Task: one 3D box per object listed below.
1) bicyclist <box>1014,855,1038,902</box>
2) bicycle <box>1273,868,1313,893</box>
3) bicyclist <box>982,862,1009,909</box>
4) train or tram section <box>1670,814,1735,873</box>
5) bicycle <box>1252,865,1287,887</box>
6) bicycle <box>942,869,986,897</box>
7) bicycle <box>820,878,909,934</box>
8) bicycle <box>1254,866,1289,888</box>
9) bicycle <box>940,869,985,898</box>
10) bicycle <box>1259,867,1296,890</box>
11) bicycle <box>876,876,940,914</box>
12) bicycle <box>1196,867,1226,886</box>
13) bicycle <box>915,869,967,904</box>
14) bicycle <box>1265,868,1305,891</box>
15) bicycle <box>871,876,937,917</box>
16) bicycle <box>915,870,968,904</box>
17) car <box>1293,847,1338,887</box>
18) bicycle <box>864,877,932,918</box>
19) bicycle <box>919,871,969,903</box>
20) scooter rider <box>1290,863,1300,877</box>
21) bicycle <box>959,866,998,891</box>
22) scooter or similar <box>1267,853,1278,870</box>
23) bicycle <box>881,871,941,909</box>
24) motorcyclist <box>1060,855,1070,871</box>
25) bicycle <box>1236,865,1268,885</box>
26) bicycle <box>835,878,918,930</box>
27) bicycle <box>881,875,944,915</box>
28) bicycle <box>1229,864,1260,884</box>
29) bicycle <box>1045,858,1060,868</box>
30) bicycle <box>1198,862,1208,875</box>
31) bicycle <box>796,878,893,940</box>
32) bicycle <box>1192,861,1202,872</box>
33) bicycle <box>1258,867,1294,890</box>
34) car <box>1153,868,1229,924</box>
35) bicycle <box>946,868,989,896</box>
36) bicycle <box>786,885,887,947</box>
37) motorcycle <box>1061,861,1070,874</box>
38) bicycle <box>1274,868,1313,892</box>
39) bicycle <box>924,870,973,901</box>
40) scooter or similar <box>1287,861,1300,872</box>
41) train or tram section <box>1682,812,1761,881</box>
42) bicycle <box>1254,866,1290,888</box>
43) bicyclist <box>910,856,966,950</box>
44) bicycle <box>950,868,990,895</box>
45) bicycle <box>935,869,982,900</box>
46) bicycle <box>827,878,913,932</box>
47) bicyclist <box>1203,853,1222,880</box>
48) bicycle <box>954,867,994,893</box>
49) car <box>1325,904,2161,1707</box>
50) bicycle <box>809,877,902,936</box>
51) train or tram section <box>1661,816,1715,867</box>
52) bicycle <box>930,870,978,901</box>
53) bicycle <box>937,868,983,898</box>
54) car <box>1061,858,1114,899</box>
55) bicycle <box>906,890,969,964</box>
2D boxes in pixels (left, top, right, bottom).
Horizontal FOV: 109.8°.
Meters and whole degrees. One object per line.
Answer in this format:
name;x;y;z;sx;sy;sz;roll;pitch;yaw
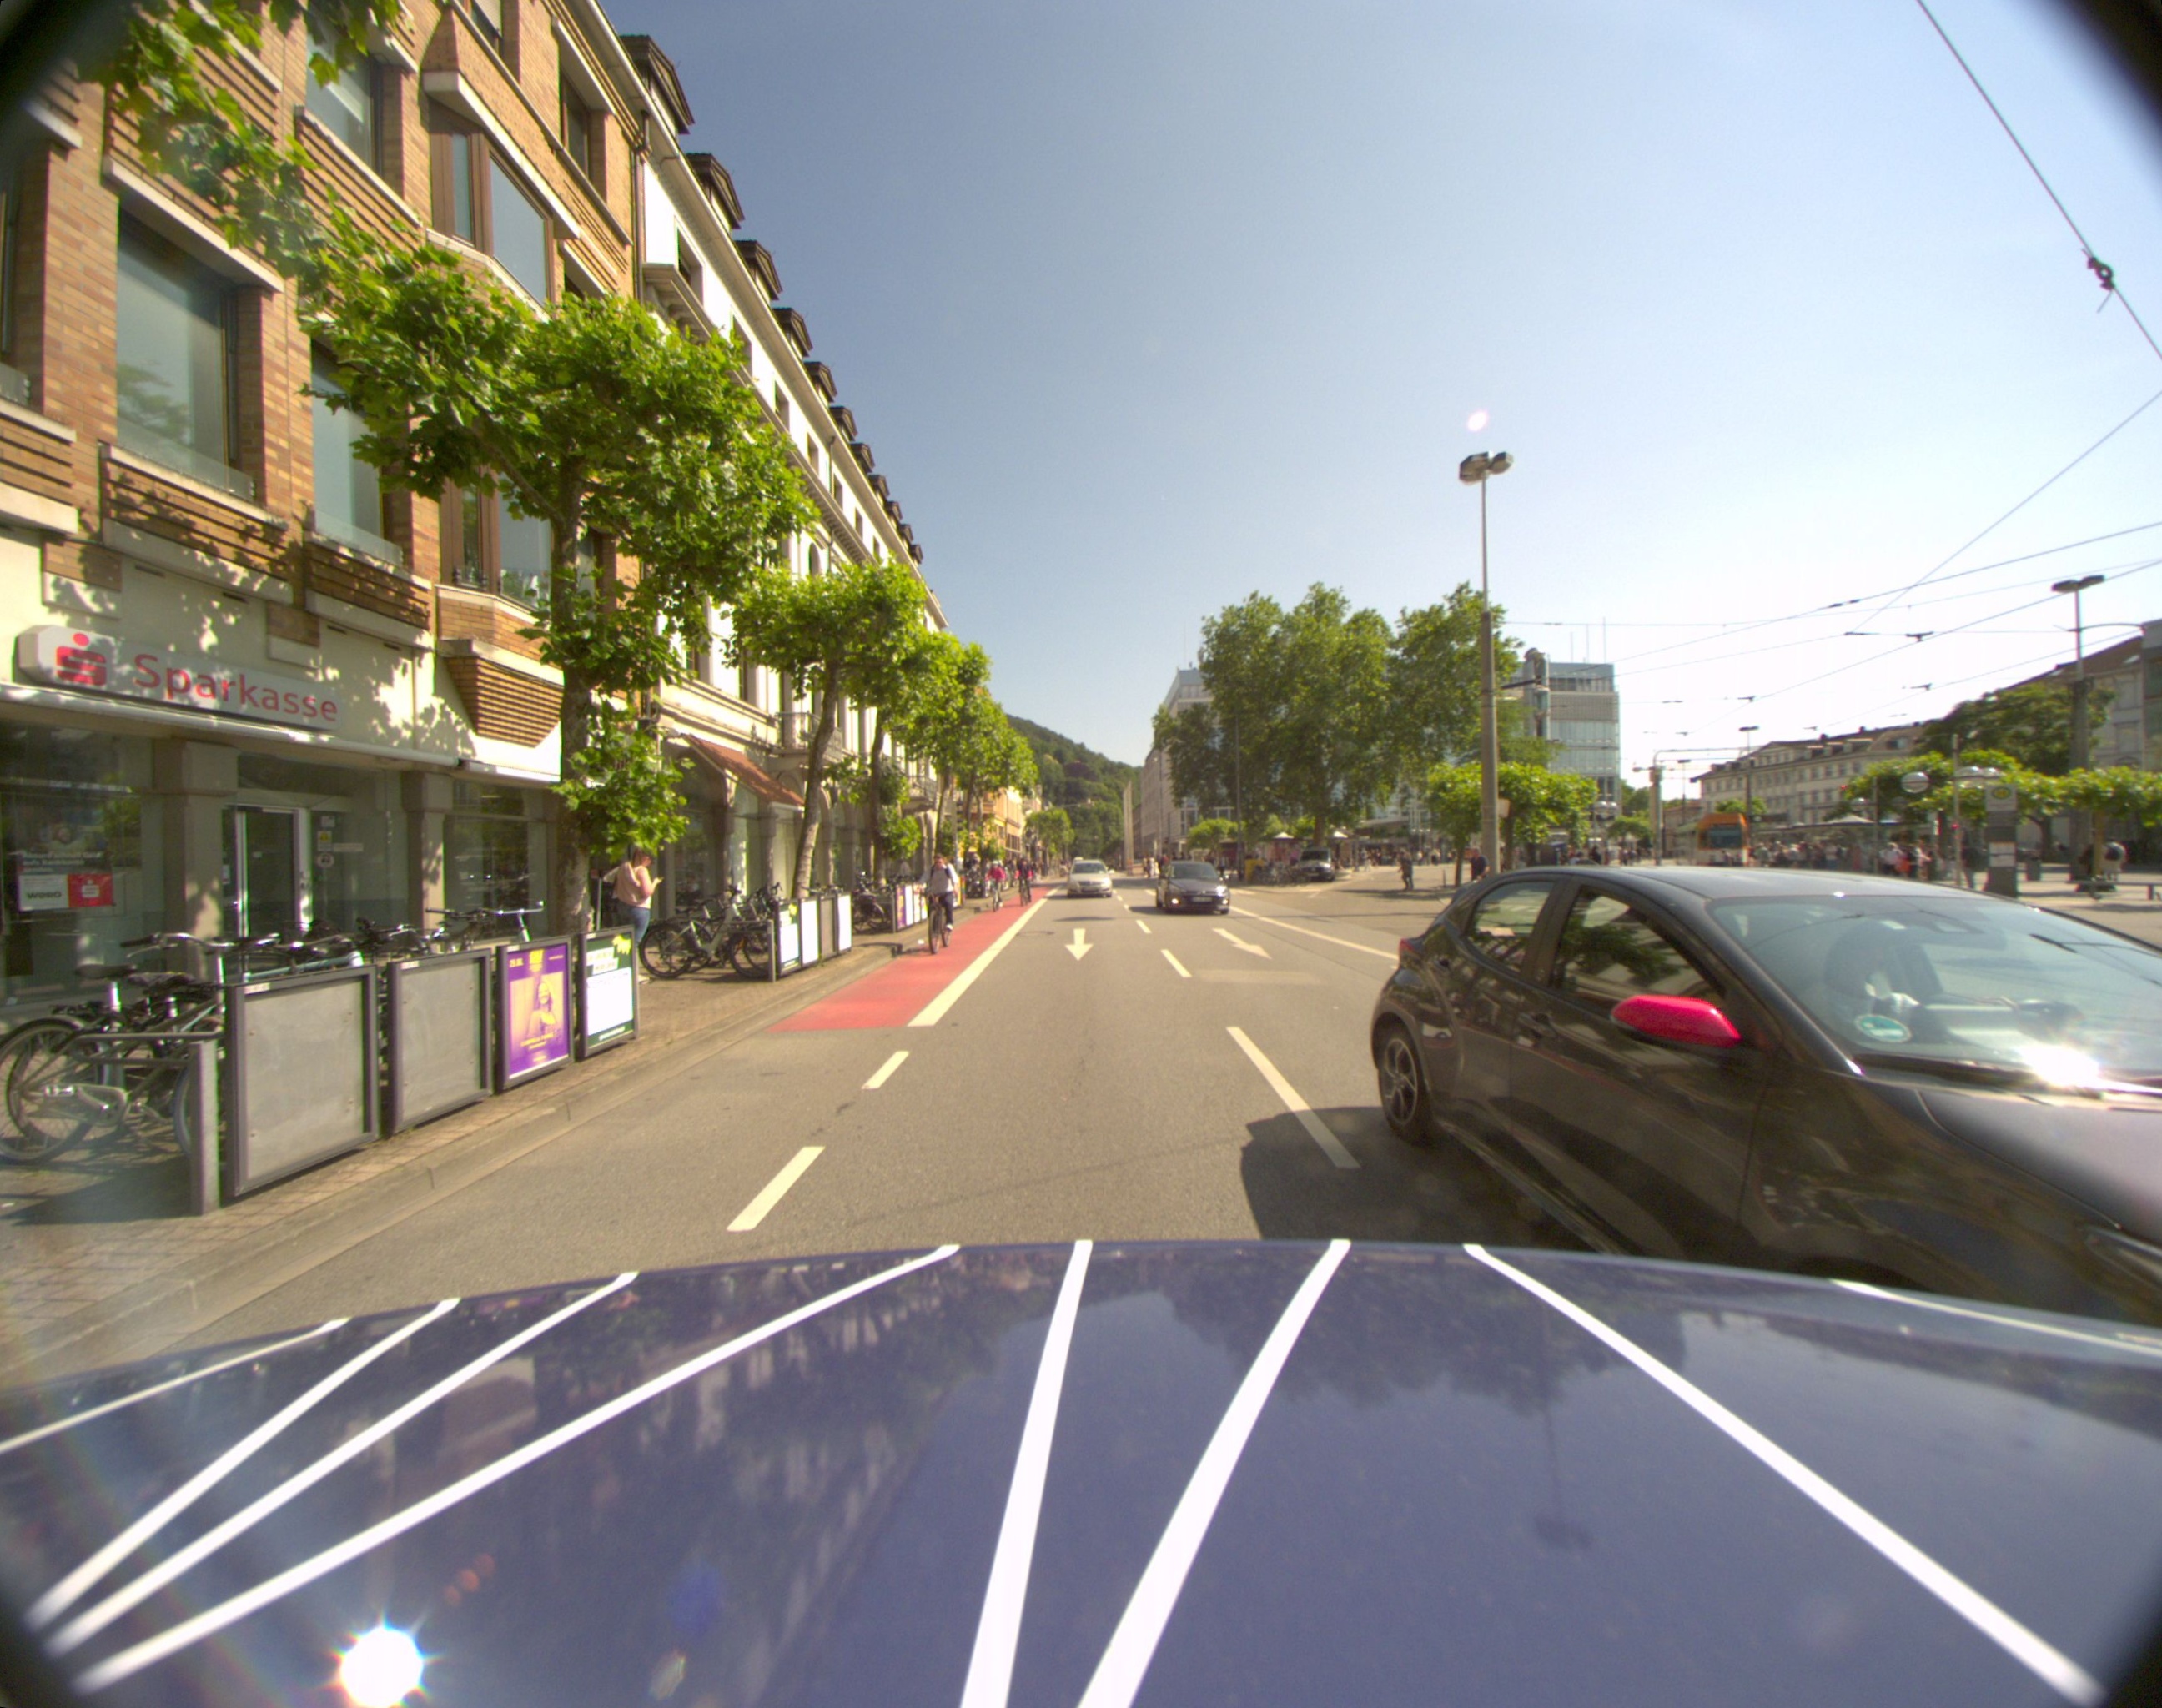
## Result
bicyclist;-1.876;0.824;25.983;0.690;1.567;0.778;-3;1;-3
bicycle;10.281;1.283;36.842;1.757;1.140;0.483;-1;0;-2
bicyclist;-2.620;0.966;23.468;0.690;1.388;0.778;-3;0;-1
train or tram section;44.642;-0.804;54.841;2.615;3.805;9.536;-3;0;34
bicycle;10.407;1.211;41.920;1.757;1.140;0.483;-1;0;-2
bicycle;-4.919;1.217;31.988;1.757;1.140;0.592;-1;0;-2
bicycle;-4.671;1.112;16.470;1.757;1.140;0.483;-1;0;-2
bicycle;10.323;1.242;41.178;1.757;1.140;0.483;-1;0;-2
bicycle;-4.878;1.215;31.294;1.757;1.140;0.592;-1;0;-2
bicycle;10.174;1.248;39.283;1.757;1.140;0.483;-1;0;-2
bicycle;-5.067;1.196;22.307;1.757;1.062;0.483;-1;0;-2
bicycle;7.496;1.306;44.046;0.831;1.017;2.624;-3;0;-10
bicycle;-5.104;1.184;27.738;1.804;1.187;0.482;-1;2;-2
bicycle;10.259;1.278;38.180;1.865;1.140;0.483;-1;0;-2
bicycle;-5.056;1.208;21.760;1.757;1.081;0.483;-1;0;-2
bicycle;-4.969;1.185;27.164;1.778;1.140;0.483;-1;0;-2
car;13.330;0.699;42.985;1.996;2.002;5.074;-3;0;22
bicycle;-5.120;1.209;21.259;1.757;1.099;0.483;-1;0;-2
bicycle;-5.103;1.224;28.310;1.757;1.140;0.483;-1;0;-2
scooter rider;13.285;1.019;47.194;0.506;0.833;0.349;-3;1;34
bicycle;-4.994;1.193;37.078;1.757;1.140;0.592;-1;0;-2
scooter or similar;13.104;0.507;51.939;0.567;1.113;0.539;-3;1;28
bicycle;-5.319;1.118;23.837;1.757;1.140;0.483;-1;0;-2
motorcyclist;-1.446;0.793;69.072;0.736;1.445;0.707;-3;1;1
bicycle;10.143;1.232;44.976;1.757;1.140;0.483;-1;0;-2
bicycle;-4.707;1.147;17.553;1.757;1.140;0.483;-1;0;-2
bicycle;-5.078;1.223;22.914;1.757;1.140;0.483;-1;0;-2
bicycle;10.048;1.223;46.680;1.757;1.140;0.483;-1;0;-2
bicycle;-3.529;1.096;94.714;1.757;1.140;0.592;-1;0;-2
bicycle;11.717;1.394;73.004;0.729;1.137;1.914;-3;0;14
bicycle;-4.744;1.093;15.283;1.757;1.180;0.483;-1;0;-2
bicycle;12.786;1.398;83.960;0.592;1.140;1.757;-1;0;-7
bicycle;10.254;1.273;40.054;1.757;1.140;0.483;-1;0;-2
car;3.078;1.141;21.909;1.699;1.396;4.000;0;0;1
bicycle;-4.895;1.215;32.889;1.757;1.140;0.592;-1;0;-2
bicycle;-4.716;1.188;14.708;1.757;1.117;0.483;-1;0;-2
motorcycle;-1.427;1.246;69.008;0.736;1.086;1.898;-3;0;1
bicycle;10.395;1.277;37.272;1.757;1.140;0.483;-1;0;-2
bicycle;-5.031;1.198;28.911;1.757;1.140;0.483;-1;0;-2
scooter or similar;13.154;0.778;47.036;0.579;0.643;0.787;-3;0;33
train or tram section;39.311;-0.526;46.911;2.615;3.805;9.536;-3;0;34
bicycle;10.209;1.228;40.616;1.757;1.140;0.483;-1;0;-2
bicyclist;-2.507;0.841;13.405;0.750;1.567;0.778;-3;1;-1
bicycle;-4.902;1.216;33.588;1.707;1.140;0.519;-1;0;-2
bicycle;-4.864;1.212;30.193;1.757;1.140;0.483;-1;0;-2
bicycle;-4.714;1.128;17.020;1.757;1.140;0.527;-1;0;-2
bicyclist;7.603;0.727;44.073;0.831;1.489;1.161;-3;0;1
bicycle;-4.928;1.189;35.043;1.757;1.140;0.592;-1;0;-2
car;2.402;1.030;2.445;1.782;1.466;3.999;0;0;-3
bicycle;-4.698;1.090;15.877;1.757;1.140;0.483;-1;0;-2
train or tram section;49.962;-1.081;62.721;2.615;3.805;9.536;-3;0;34
bicycle;-4.909;1.205;29.522;1.757;1.140;0.483;-1;1;-2
bicycle;-4.871;1.183;30.704;1.757;1.140;0.483;-1;0;-2
car;0.281;0.929;30.527;1.918;1.401;4.000;-3;0;1
bicycle;-2.494;1.245;13.447;0.736;1.086;1.897;-3;0;-1
